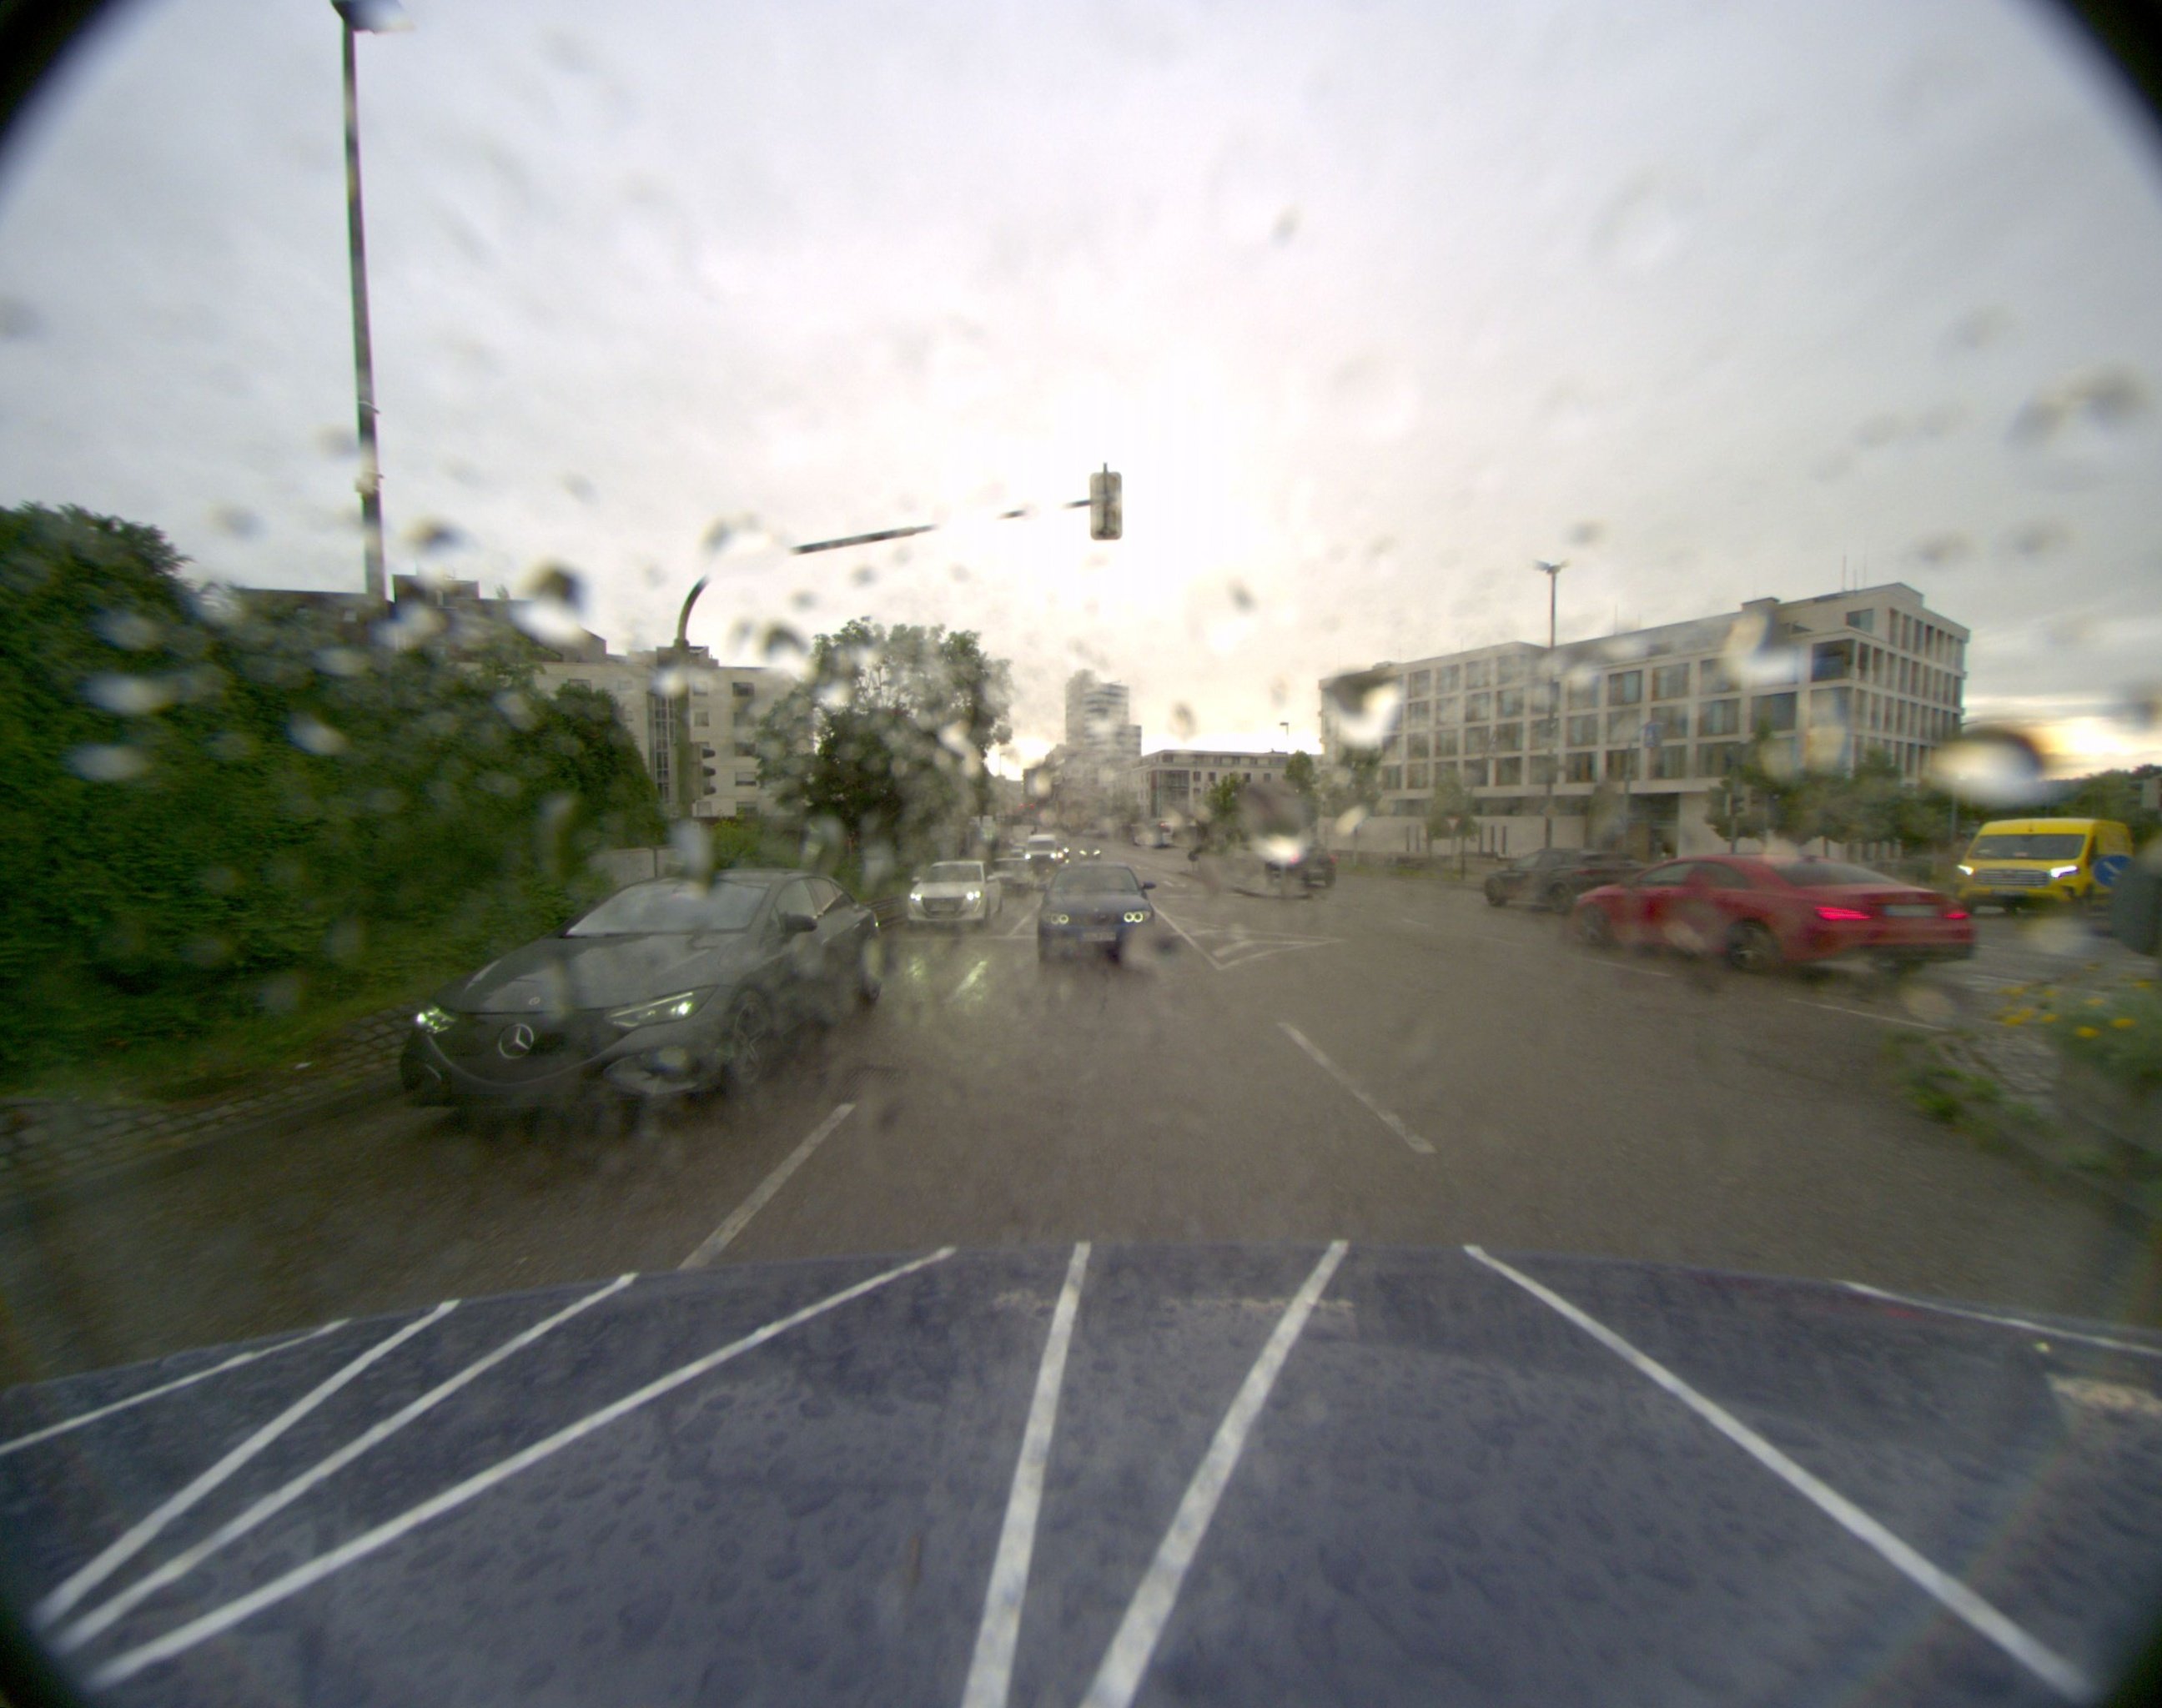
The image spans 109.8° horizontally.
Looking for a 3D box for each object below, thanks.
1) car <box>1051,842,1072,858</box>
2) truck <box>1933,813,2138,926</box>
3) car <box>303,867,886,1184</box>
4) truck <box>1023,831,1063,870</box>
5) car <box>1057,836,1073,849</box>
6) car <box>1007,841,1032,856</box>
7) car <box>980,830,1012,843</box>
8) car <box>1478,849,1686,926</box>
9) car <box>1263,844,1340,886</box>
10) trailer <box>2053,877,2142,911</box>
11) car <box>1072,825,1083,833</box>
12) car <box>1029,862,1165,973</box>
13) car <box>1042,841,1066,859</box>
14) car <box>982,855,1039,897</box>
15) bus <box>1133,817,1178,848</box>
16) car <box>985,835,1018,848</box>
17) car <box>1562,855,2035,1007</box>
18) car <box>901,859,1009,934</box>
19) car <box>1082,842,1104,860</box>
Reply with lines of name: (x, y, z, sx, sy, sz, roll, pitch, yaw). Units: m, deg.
car: (-1.950, -0.396, 76.270, 1.999, 1.543, 3.999, -1, 0, -1)
truck: (24.572, 0.345, 19.506, 6.186, 2.524, 2.222, 1, 2, -30)
car: (-3.143, 0.949, 6.286, 1.836, 1.436, 4.549, -2, 1, 0)
truck: (-2.458, -0.294, 50.688, 2.169, 2.426, 6.199, -1, 1, 1)
car: (-1.983, -1.427, 93.547, 1.999, 1.543, 3.999, -1, 0, -1)
car: (-5.915, -0.552, 73.139, 1.998, 1.344, 3.803, 1, 1, 1)
car: (-10.881, -2.251, 97.272, 4.000, 1.412, 1.701, -2, 2, -8)
car: (11.522, 0.689, 17.918, 1.955, 1.470, 4.294, 1, 1, -2)
car: (8.648, 0.394, 30.207, 1.907, 1.543, 4.074, 0, 1, 1)
trailer: (34.816, 1.338, 26.031, 2.290, 0.973, 1.604, 1, 2, -32)
car: (-0.627, -4.788, 147.200, 1.818, 1.421, 3.941, -2, 3, 2)
car: (0.256, 0.871, 12.019, 1.787, 1.335, 3.704, -1, 1, 1)
car: (-2.325, -0.353, 66.000, 1.999, 1.543, 3.999, -1, 0, -1)
car: (-2.640, 0.783, 29.371, 1.718, 1.369, 3.734, -2, 1, 1)
bus: (10.015, -2.959, 105.393, 2.952, 3.973, 18.215, 1, 1, -5)
car: (-9.970, -1.581, 95.254, 4.000, 1.412, 1.998, -2, 2, -8)
car: (8.687, 0.792, 9.933, 1.998, 1.406, 4.430, -1, 2, 1)
car: (-2.817, 0.899, 17.837, 1.718, 1.389, 4.035, -2, 1, 1)
car: (1.027, -0.255, 64.582, 1.718, 1.369, 3.734, -2, 1, 1)
